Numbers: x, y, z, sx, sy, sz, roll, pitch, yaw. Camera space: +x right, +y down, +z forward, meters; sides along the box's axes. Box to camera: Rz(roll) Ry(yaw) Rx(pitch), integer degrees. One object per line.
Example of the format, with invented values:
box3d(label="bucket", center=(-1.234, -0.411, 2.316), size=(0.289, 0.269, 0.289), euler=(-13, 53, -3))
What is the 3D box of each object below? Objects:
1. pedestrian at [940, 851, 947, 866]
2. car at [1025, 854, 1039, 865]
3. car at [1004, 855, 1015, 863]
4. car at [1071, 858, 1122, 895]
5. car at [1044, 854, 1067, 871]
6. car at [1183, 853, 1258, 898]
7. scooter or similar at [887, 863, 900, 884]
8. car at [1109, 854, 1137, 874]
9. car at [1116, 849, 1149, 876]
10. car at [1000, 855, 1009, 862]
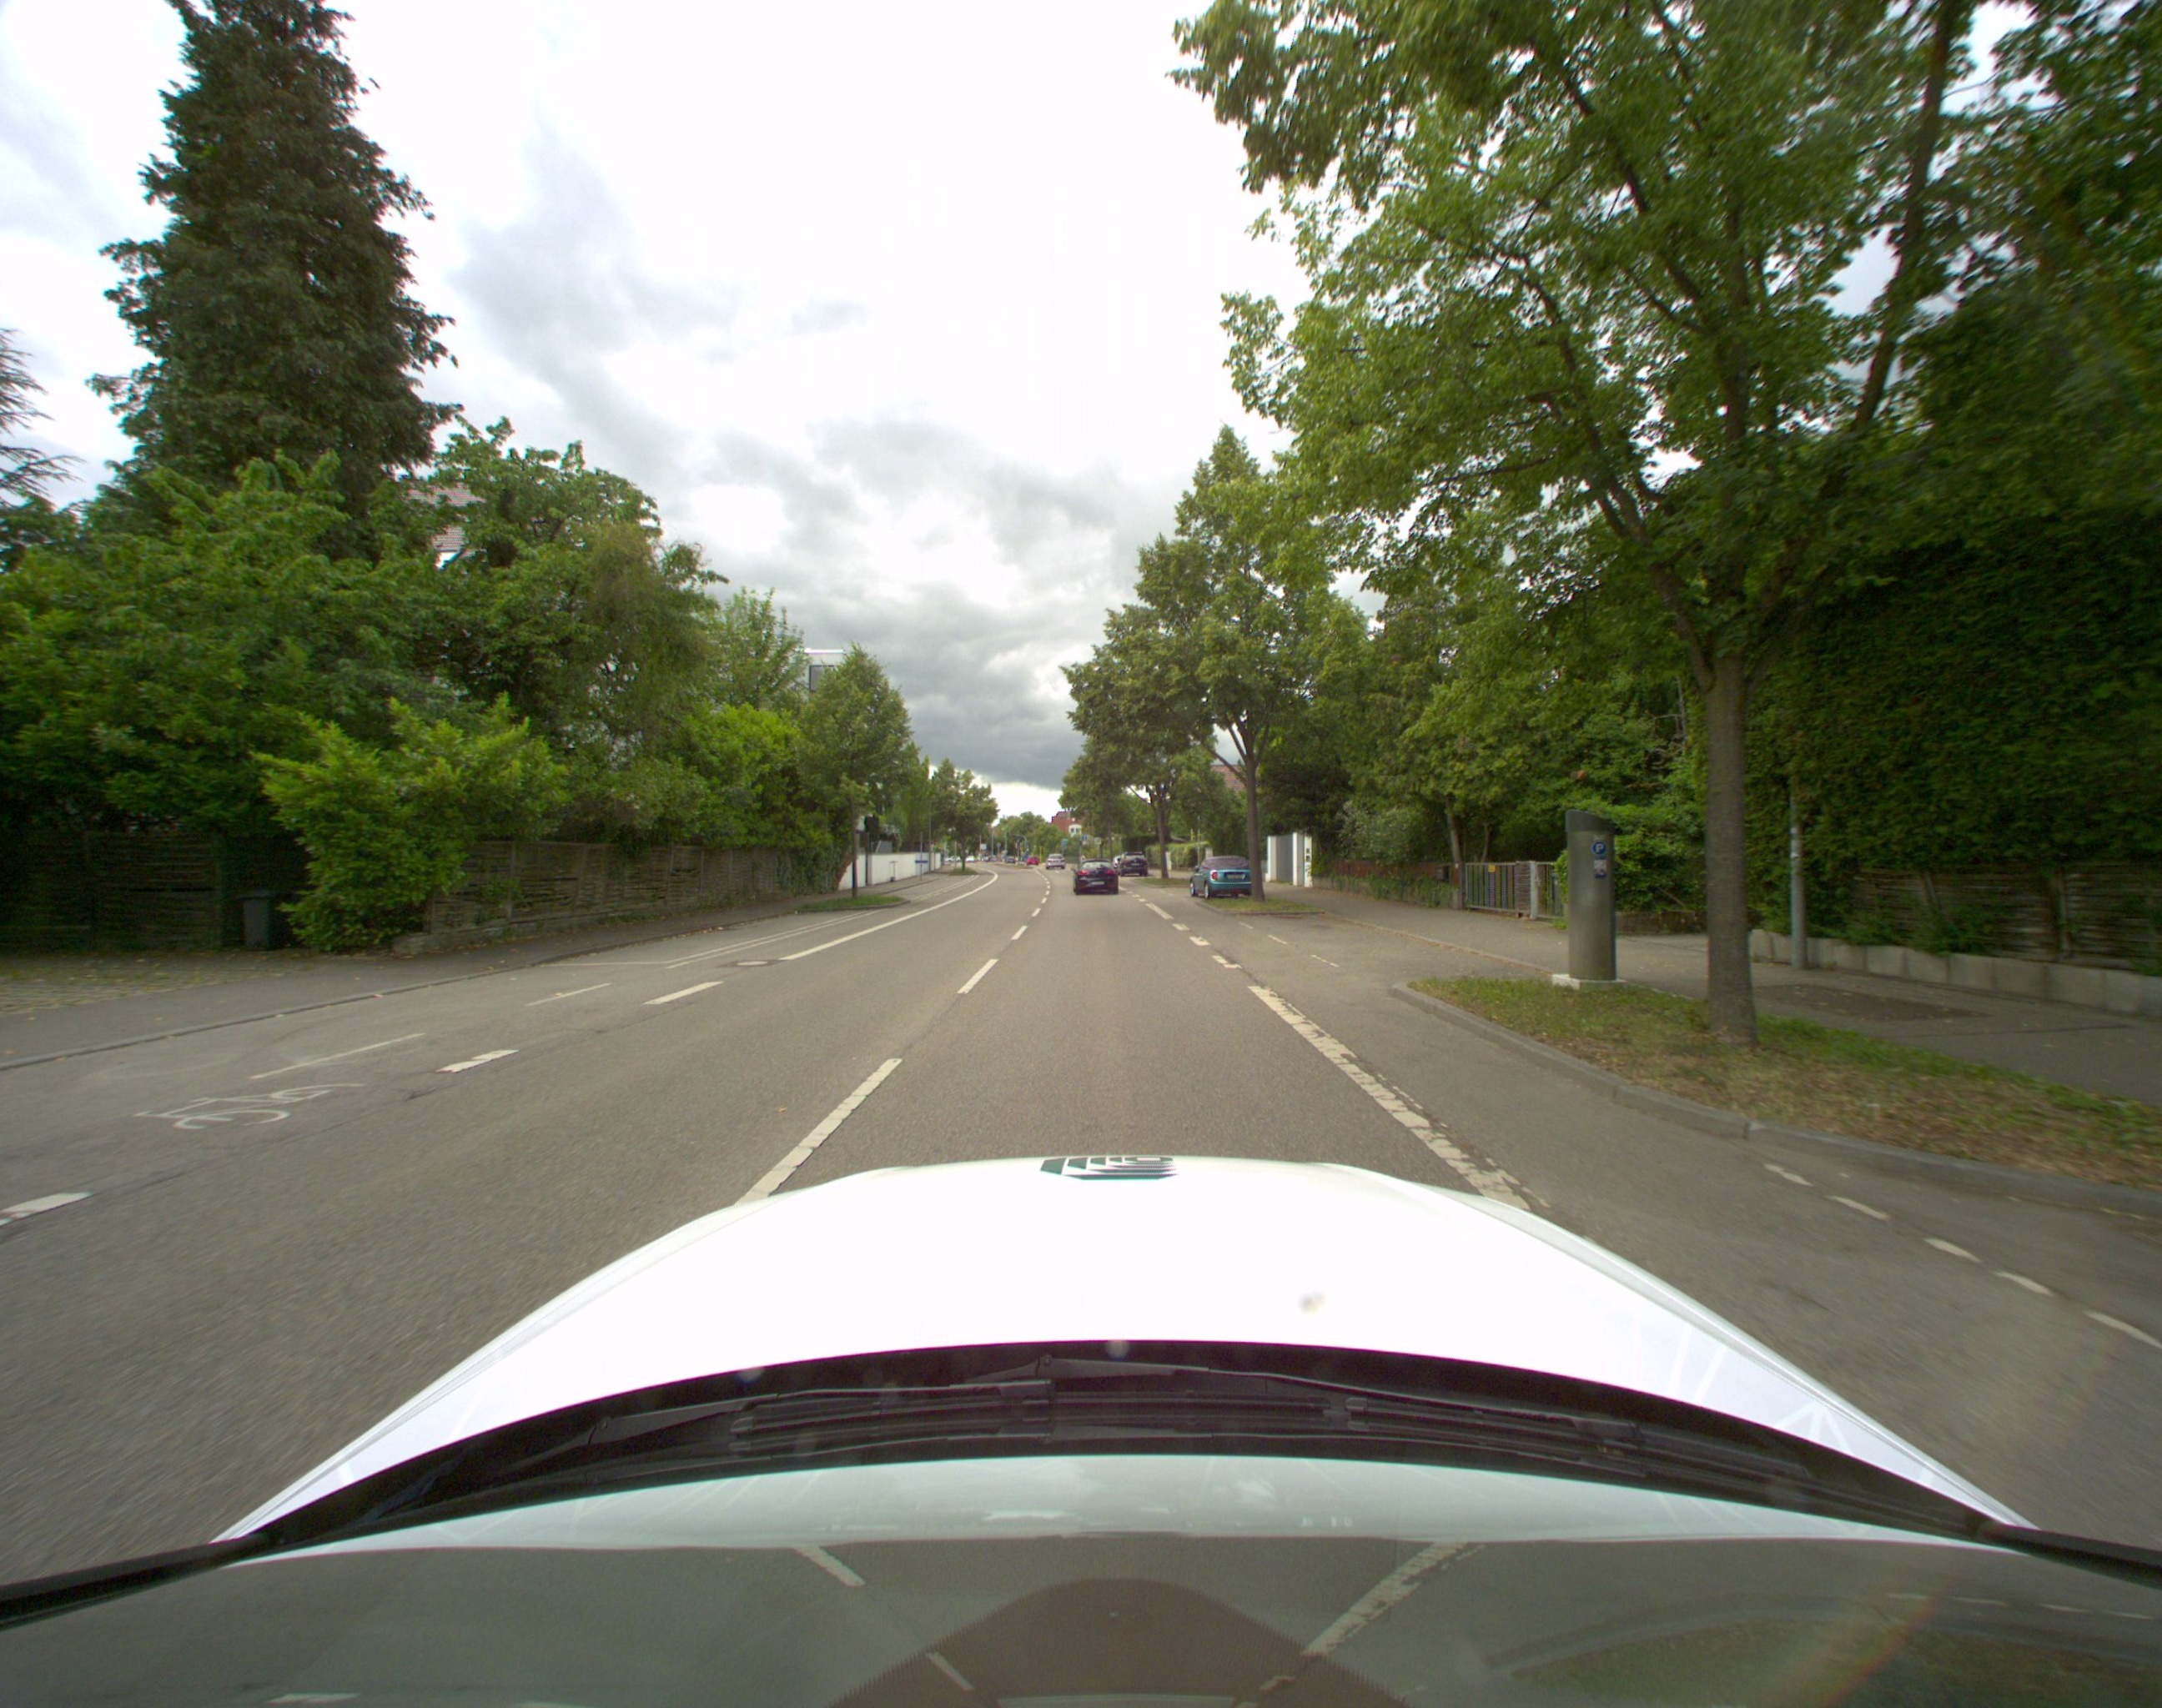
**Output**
box3d(label="pedestrian", center=(-17.892, 0.590, 105.920), size=(0.752, 2.054, 0.723), euler=(0, -1, -8))
box3d(label="car", center=(-7.014, 0.795, 117.369), size=(1.989, 1.530, 3.996), euler=(-1, 0, -3))
box3d(label="car", center=(-13.375, 0.946, 152.644), size=(1.989, 1.508, 3.996), euler=(0, -1, -3))
box3d(label="car", center=(0.708, 0.890, 33.467), size=(1.774, 1.449, 3.564), euler=(-1, 0, 6))
box3d(label="car", center=(-2.508, 0.821, 81.209), size=(1.986, 1.558, 4.002), euler=(-2, -1, 2))
box3d(label="car", center=(4.725, 0.684, 28.111), size=(1.679, 1.432, 4.040), euler=(-1, 0, -3))
box3d(label="scooter or similar", center=(-10.497, 1.064, 45.627), size=(0.500, 1.154, 1.300), euler=(-1, 0, -3))
box3d(label="car", center=(3.161, 0.731, 61.657), size=(1.682, 1.449, 3.574), euler=(-1, 0, -4))
box3d(label="car", center=(3.492, 0.577, 55.771), size=(1.784, 1.772, 3.978), euler=(-1, -1, -3))
box3d(label="car", center=(-18.880, 1.171, 201.261), size=(1.967, 1.675, 3.875), euler=(0, 0, -1))
